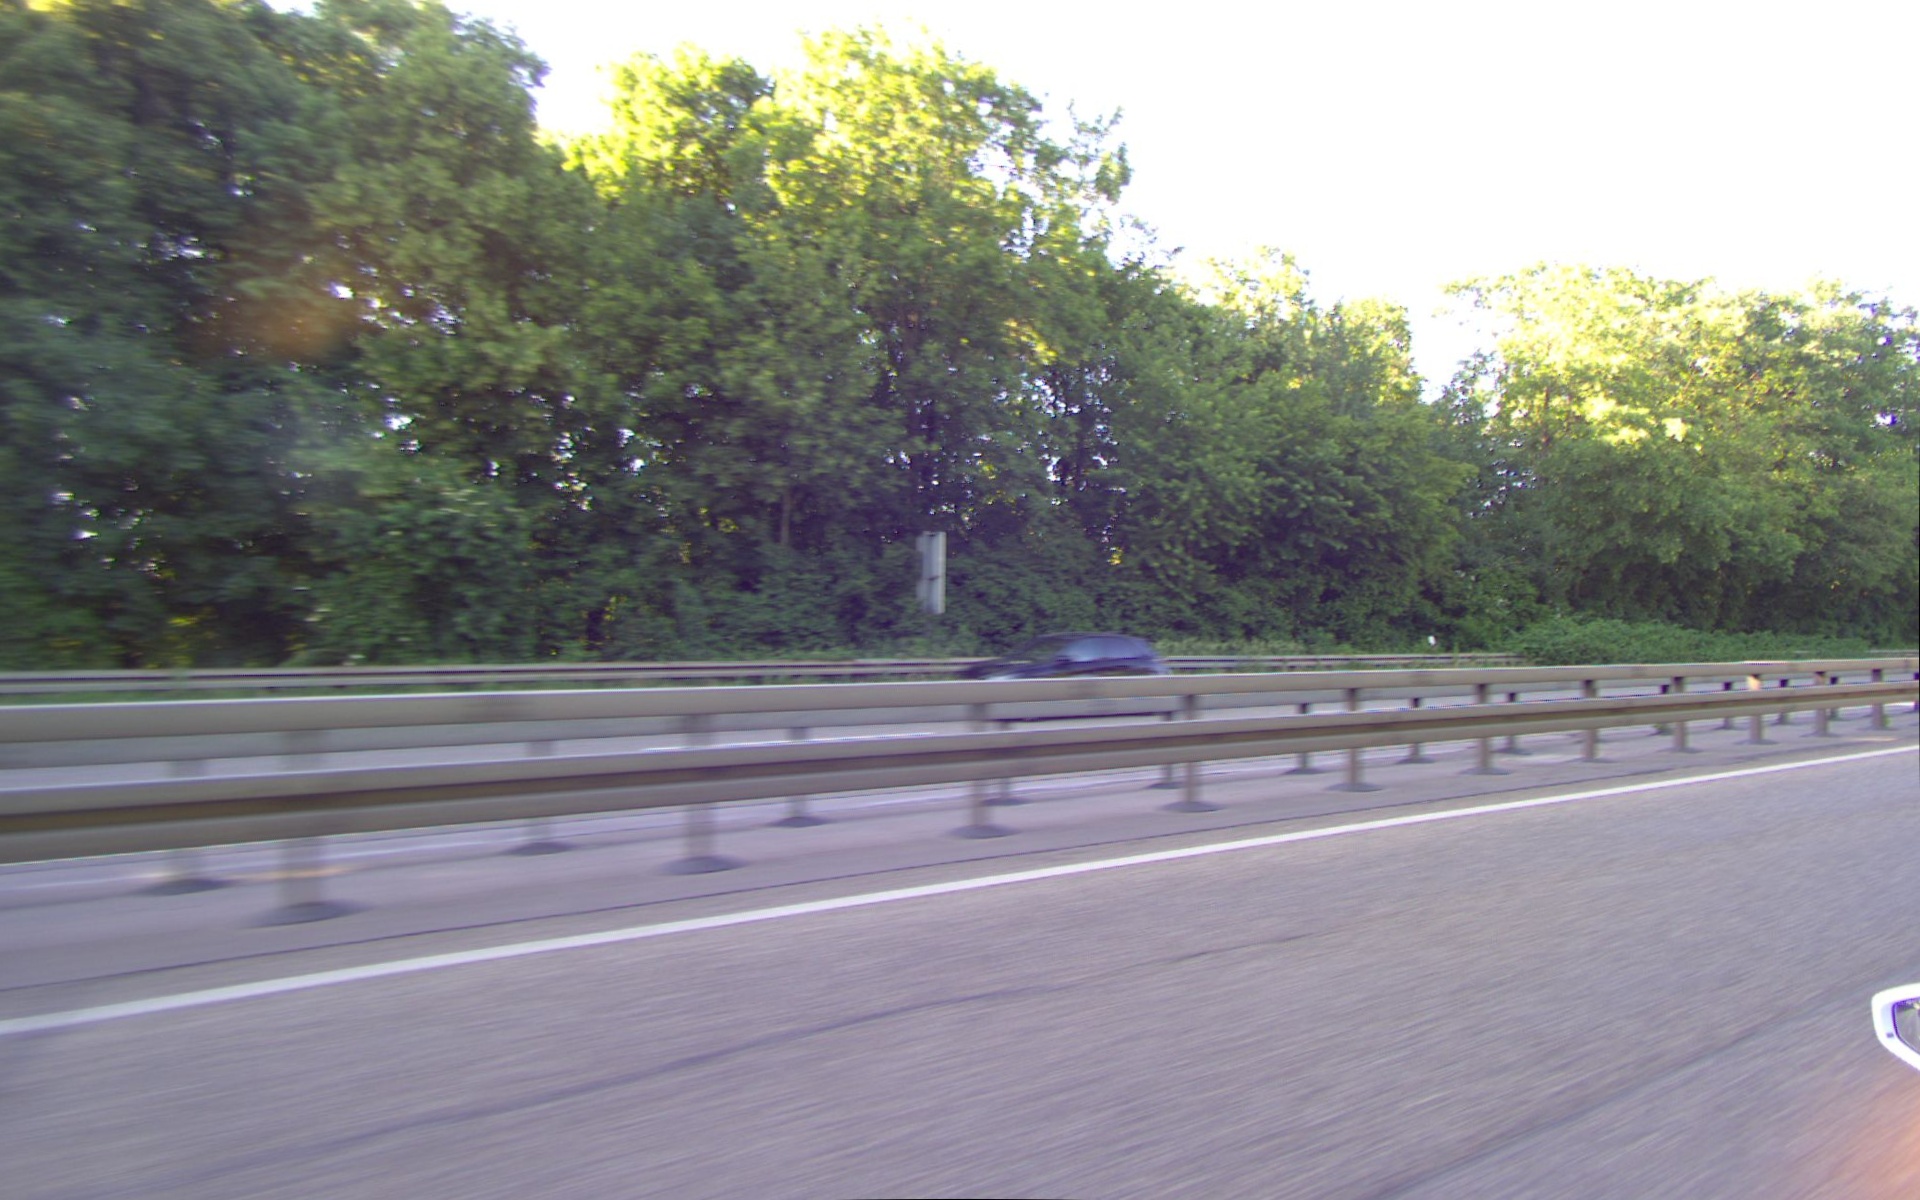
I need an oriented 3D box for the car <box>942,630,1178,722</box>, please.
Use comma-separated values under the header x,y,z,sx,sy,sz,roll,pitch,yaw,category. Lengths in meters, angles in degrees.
x,y,z,sx,sy,sz,roll,pitch,yaw,category
1.792,1.252,17.572,3.953,1.441,1.598,1,-1,-31,car
